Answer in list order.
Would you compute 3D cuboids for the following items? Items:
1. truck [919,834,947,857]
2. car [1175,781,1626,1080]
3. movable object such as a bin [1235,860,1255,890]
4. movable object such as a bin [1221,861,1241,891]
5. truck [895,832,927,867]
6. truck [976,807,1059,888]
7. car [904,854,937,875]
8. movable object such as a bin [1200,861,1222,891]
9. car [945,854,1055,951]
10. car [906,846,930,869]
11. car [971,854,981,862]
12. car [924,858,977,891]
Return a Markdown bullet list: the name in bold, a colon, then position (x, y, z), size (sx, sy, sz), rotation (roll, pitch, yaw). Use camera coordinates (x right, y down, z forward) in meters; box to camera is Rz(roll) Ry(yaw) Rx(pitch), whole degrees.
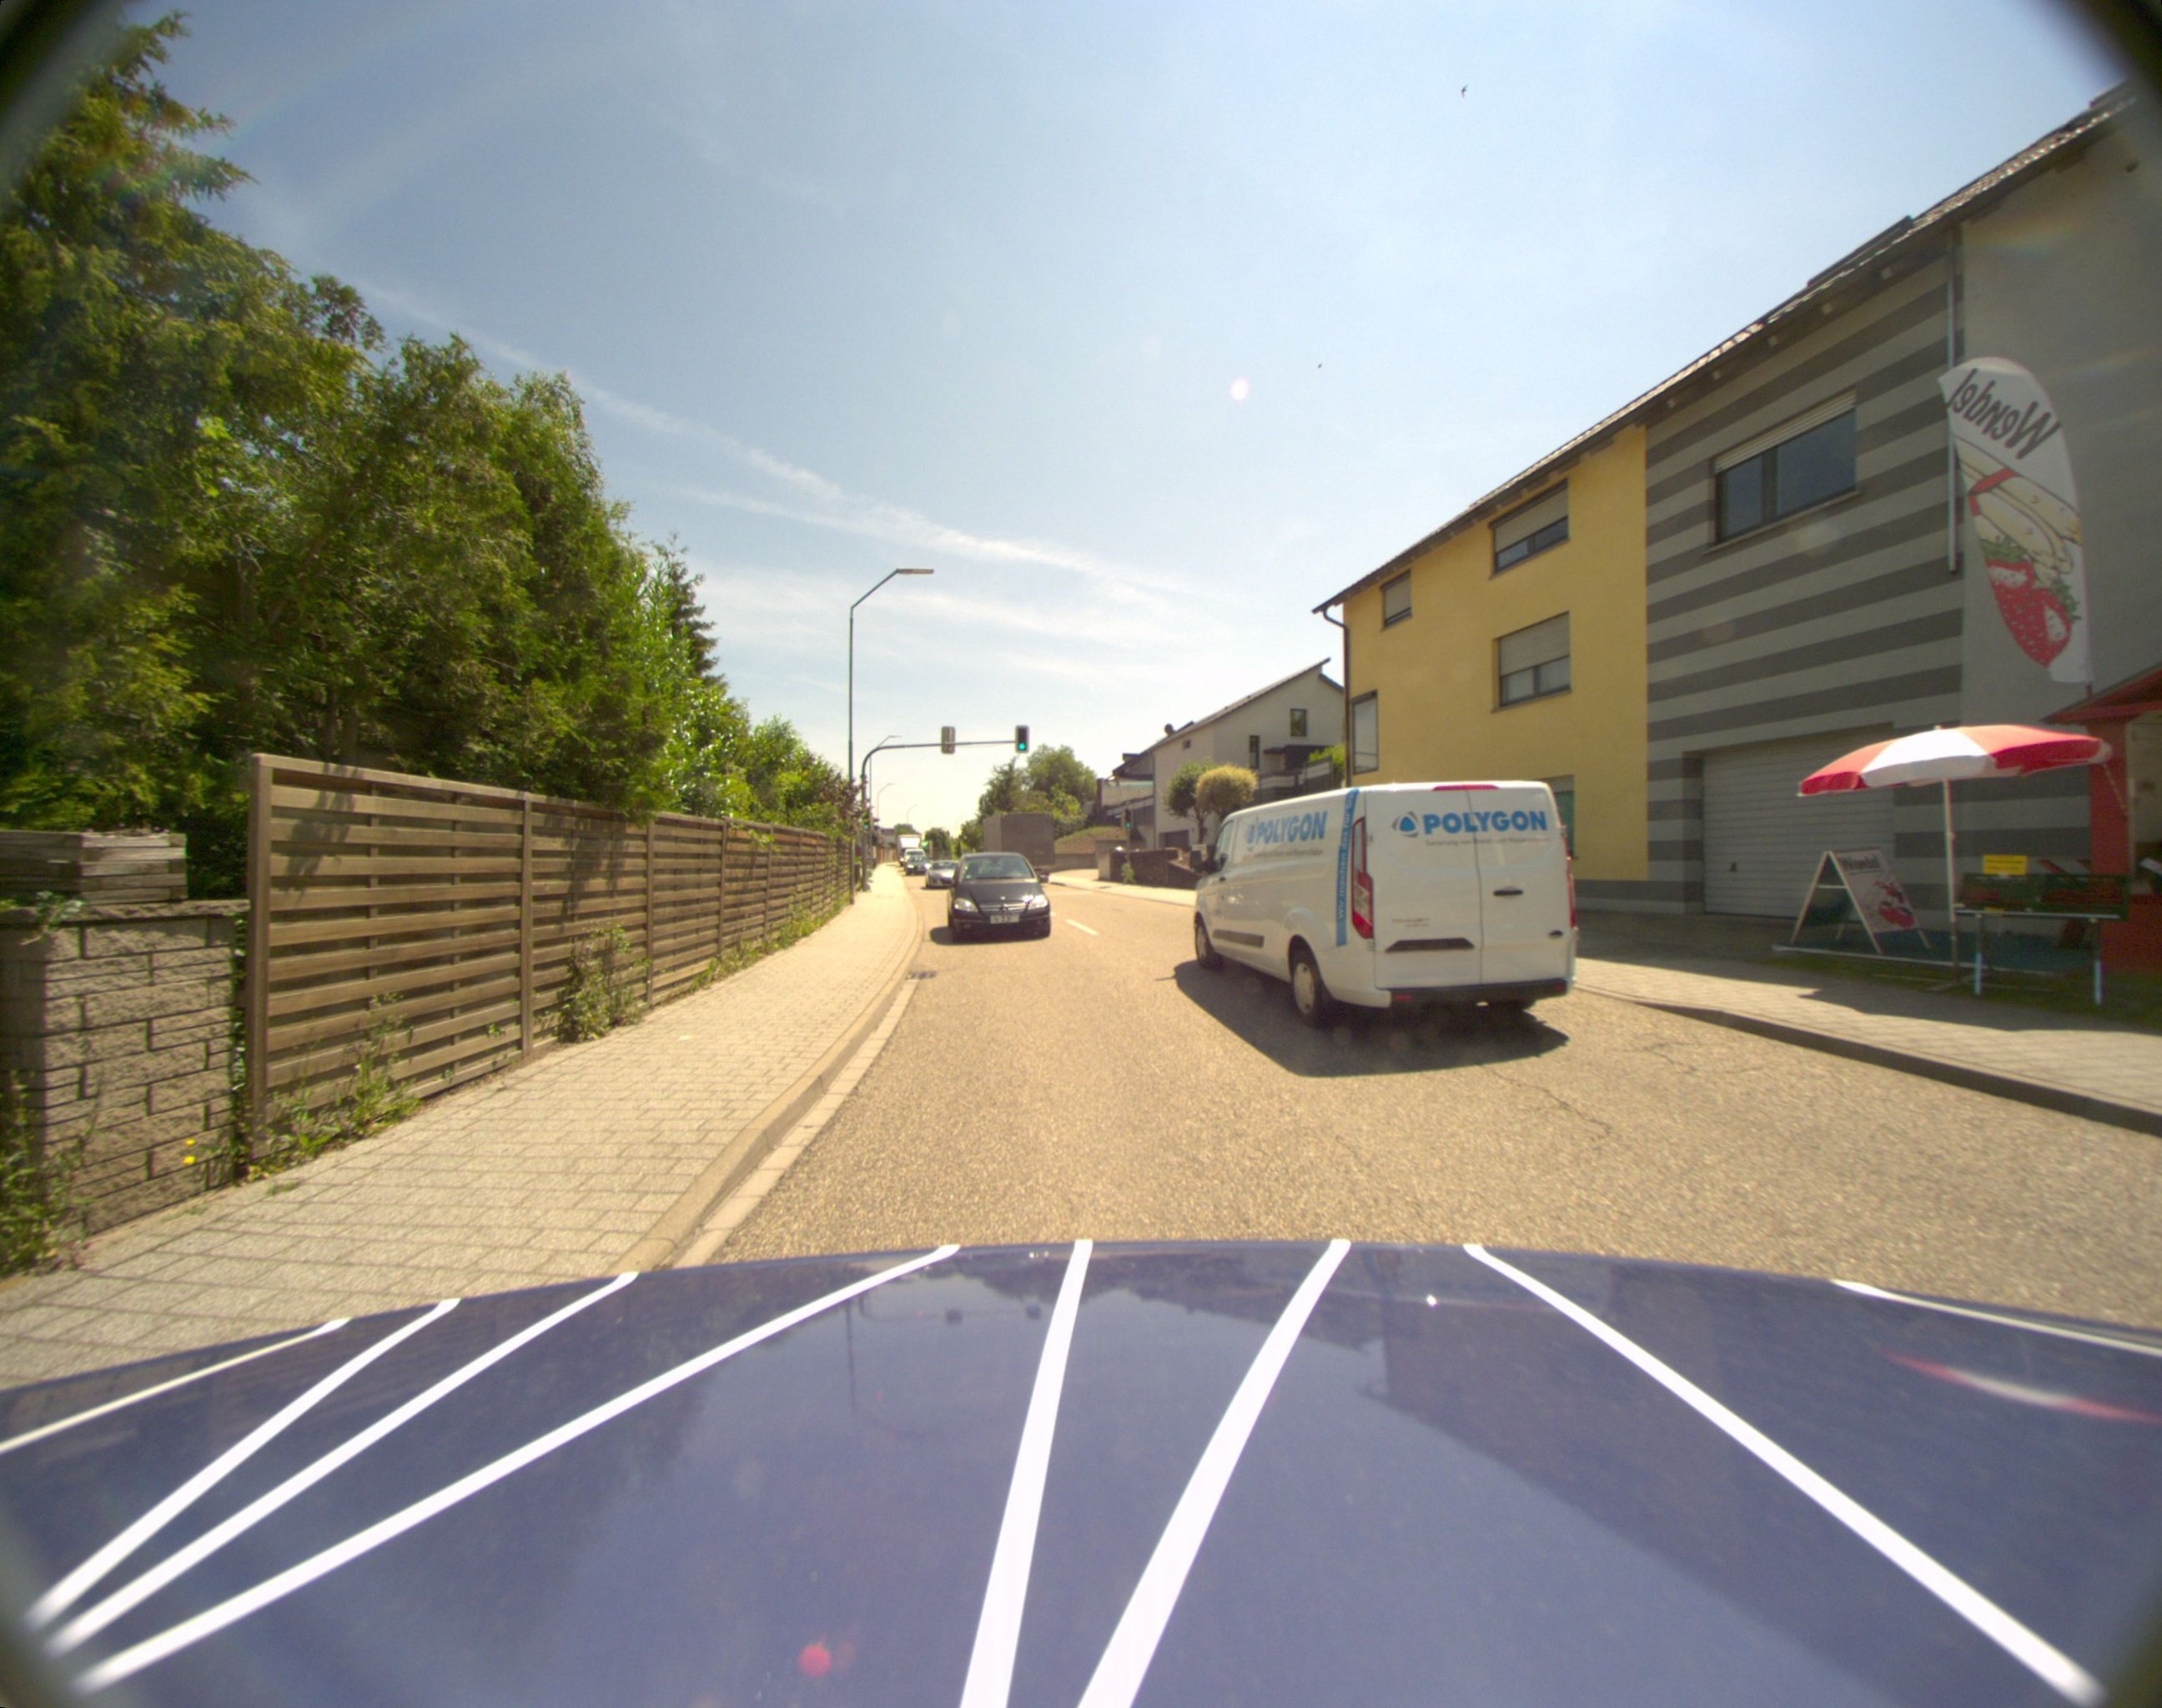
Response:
- **truck**: position (-22.260, -1.224, 113.905), size (2.858, 3.214, 8.149), rotation (2, 0, -20)
- **car**: position (2.596, 0.509, 7.914), size (1.999, 1.988, 5.211), rotation (-3, 1, -6)
- **movable object such as a bin**: position (5.365, 0.686, 24.827), size (0.448, 0.933, 0.530), rotation (-1, 1, -14)
- **movable object such as a bin**: position (4.870, 0.714, 24.688), size (0.448, 0.923, 0.561), rotation (-2, 1, -14)
- **truck**: position (-19.086, -0.491, 85.426), size (3.207, 3.578, 8.297), rotation (2, 0, -12)
- **truck**: position (-3.231, -0.303, 36.630), size (2.475, 3.348, 7.606), rotation (-4, 1, -15)
- **car**: position (-11.440, 0.728, 54.060), size (1.899, 1.368, 3.994), rotation (-1, 0, -17)
- **movable object such as a bin**: position (4.180, 0.711, 24.531), size (0.502, 0.942, 0.553), rotation (-2, 1, -14)
- **car**: position (-1.758, 0.829, 15.175), size (1.766, 1.583, 4.193), rotation (-2, 1, -11)
- **car**: position (-14.343, 0.290, 67.043), size (1.869, 1.897, 5.031), rotation (-2, 1, -11)
- **car**: position (-20.400, 0.699, 147.028), size (1.828, 1.516, 3.554), rotation (-2, 1, -8)
- **car**: position (-5.913, 0.873, 34.101), size (1.816, 1.306, 3.994), rotation (-1, 0, -17)
